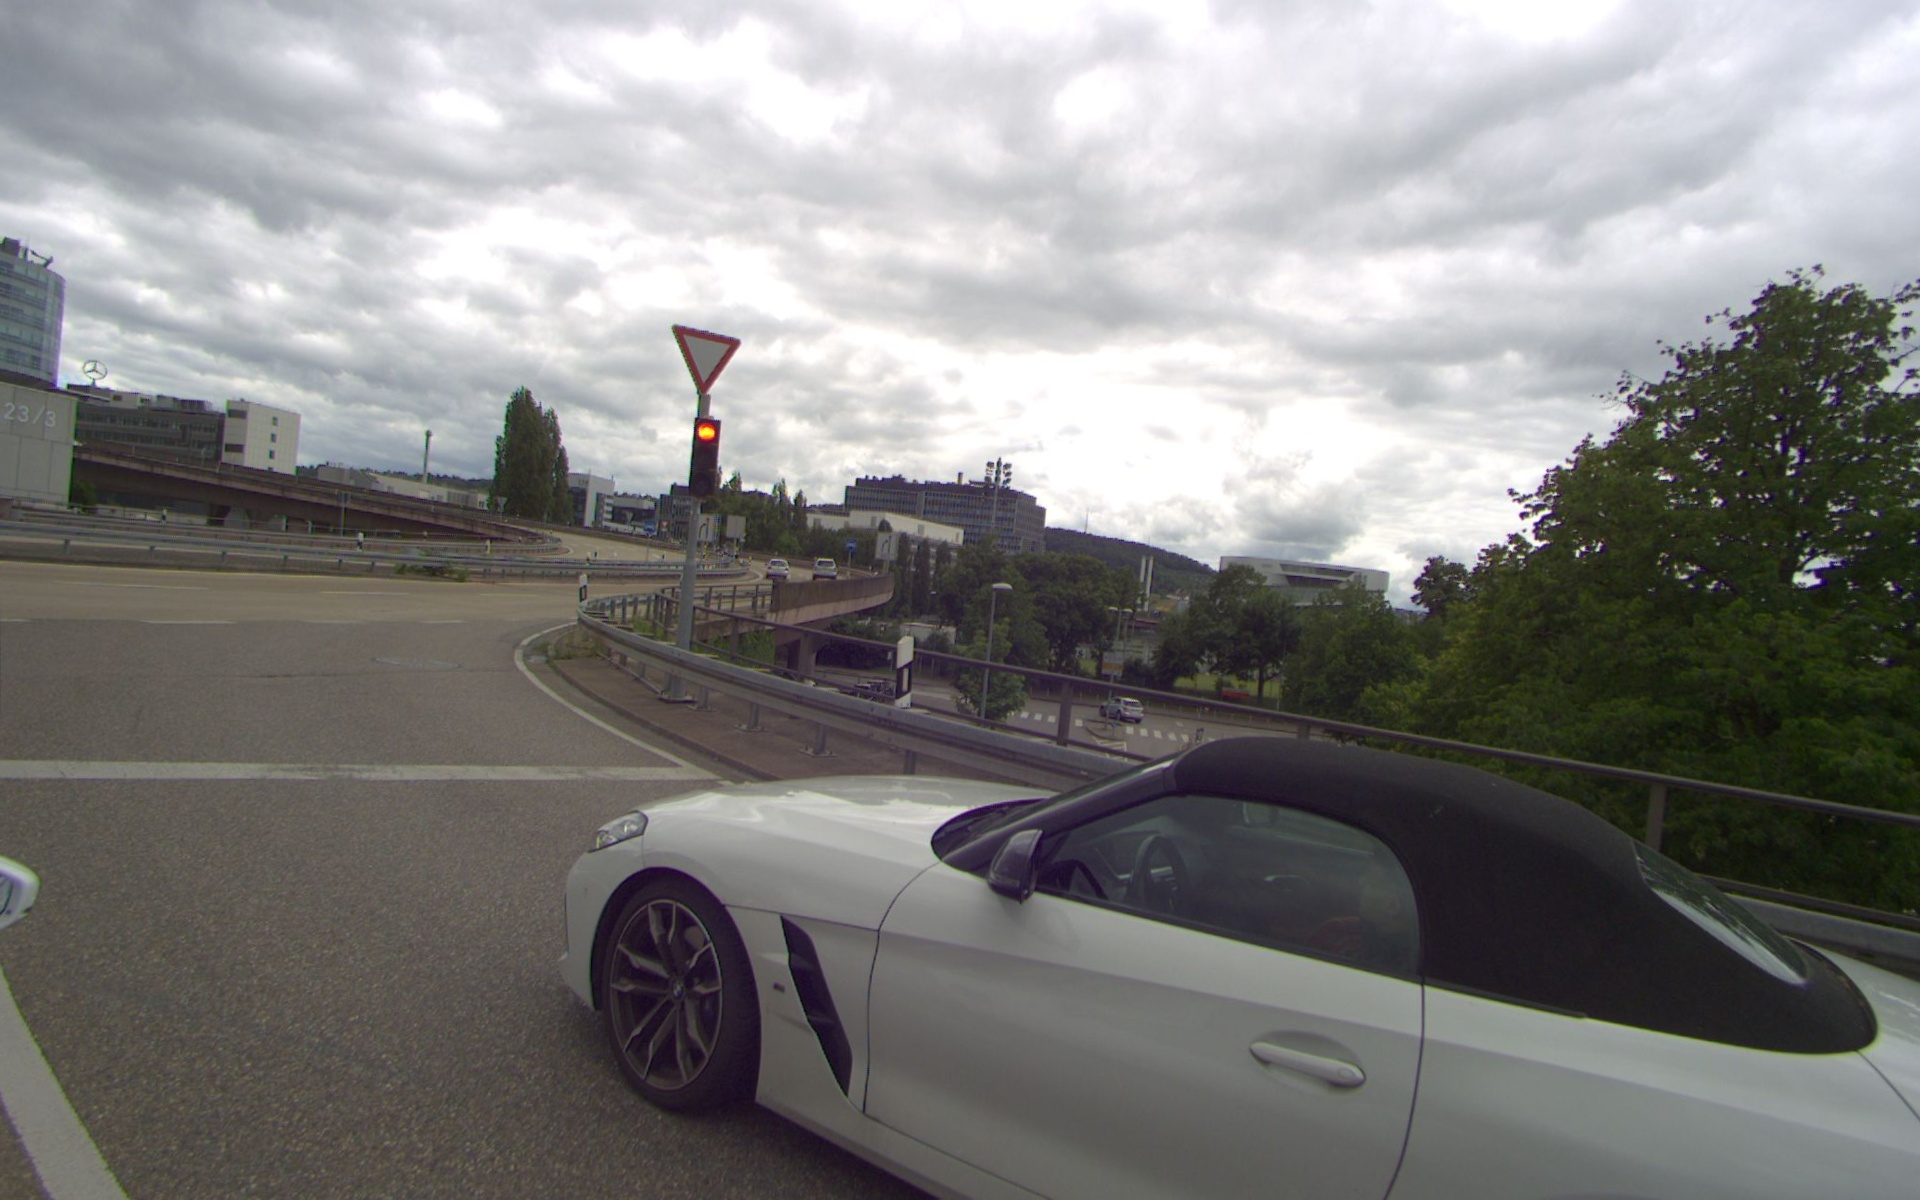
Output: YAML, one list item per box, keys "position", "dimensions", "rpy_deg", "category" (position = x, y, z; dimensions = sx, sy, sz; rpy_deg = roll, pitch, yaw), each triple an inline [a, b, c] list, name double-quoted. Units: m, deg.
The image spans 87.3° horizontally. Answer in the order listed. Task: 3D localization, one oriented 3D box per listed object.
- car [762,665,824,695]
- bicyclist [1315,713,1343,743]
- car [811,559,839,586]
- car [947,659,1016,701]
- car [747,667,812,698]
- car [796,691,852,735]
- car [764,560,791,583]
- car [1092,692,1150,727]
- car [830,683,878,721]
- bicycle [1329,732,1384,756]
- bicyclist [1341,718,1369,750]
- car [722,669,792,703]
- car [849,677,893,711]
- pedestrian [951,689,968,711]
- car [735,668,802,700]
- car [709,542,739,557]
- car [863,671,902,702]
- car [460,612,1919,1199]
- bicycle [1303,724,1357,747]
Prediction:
- position: [-11.470, 5.494, 69.120]
  dimensions: [3.792, 1.371, 1.826]
  rpy_deg: [8, 1, 1]
  category: "car"
- position: [29.543, 10.270, 80.561]
  dimensions: [1.539, 2.114, 1.093]
  rpy_deg: [10, -5, -2]
  category: "bicyclist"
- position: [-10.177, -2.057, 76.006]
  dimensions: [1.699, 1.758, 4.551]
  rpy_deg: [7, 0, -5]
  category: "car"
- position: [1.875, 6.929, 86.773]
  dimensions: [5.290, 2.617, 2.019]
  rpy_deg: [10, -1, 16]
  category: "car"
- position: [-11.879, 5.404, 66.337]
  dimensions: [3.792, 1.371, 1.826]
  rpy_deg: [8, 1, 1]
  category: "car"
- position: [-6.844, 5.695, 51.046]
  dimensions: [1.792, 1.553, 4.000]
  rpy_deg: [8, 0, 6]
  category: "car"
- position: [-13.440, -2.109, 74.049]
  dimensions: [1.702, 1.417, 4.056]
  rpy_deg: [7, 0, -12]
  category: "car"
- position: [12.555, 8.556, 78.889]
  dimensions: [1.992, 1.883, 4.834]
  rpy_deg: [11, -2, -23]
  category: "car"
- position: [-6.055, 5.801, 57.753]
  dimensions: [1.792, 1.553, 4.000]
  rpy_deg: [8, 0, 6]
  category: "car"
- position: [31.123, 11.267, 78.974]
  dimensions: [3.784, 1.189, 1.093]
  rpy_deg: [10, -5, 0]
  category: "bicycle"
- position: [31.021, 10.505, 79.045]
  dimensions: [1.553, 2.273, 1.093]
  rpy_deg: [9, -5, 0]
  category: "bicyclist"
- position: [-12.462, 5.272, 61.881]
  dimensions: [3.792, 1.371, 1.826]
  rpy_deg: [8, 1, 1]
  category: "car"
- position: [-5.532, 5.837, 63.016]
  dimensions: [1.792, 1.553, 4.195]
  rpy_deg: [8, 0, 6]
  category: "car"
- position: [-0.039, 7.363, 74.046]
  dimensions: [0.898, 1.514, 0.750]
  rpy_deg: [8, -3, 15]
  category: "pedestrian"
- position: [-12.184, 5.320, 64.221]
  dimensions: [3.792, 1.371, 1.826]
  rpy_deg: [8, 1, 1]
  category: "car"
- position: [-26.452, -5.710, 112.685]
  dimensions: [1.713, 1.480, 4.204]
  rpy_deg: [5, 0, -35]
  category: "car"
- position: [-5.275, 5.864, 68.622]
  dimensions: [1.792, 1.553, 4.000]
  rpy_deg: [8, 0, 6]
  category: "car"
- position: [0.611, 0.990, 3.007]
  dimensions: [4.194, 1.306, 1.808]
  rpy_deg: [7, -2, 33]
  category: "car"
- position: [29.613, 10.858, 80.549]
  dimensions: [3.785, 1.189, 1.093]
  rpy_deg: [10, -5, -2]
  category: "bicycle"
